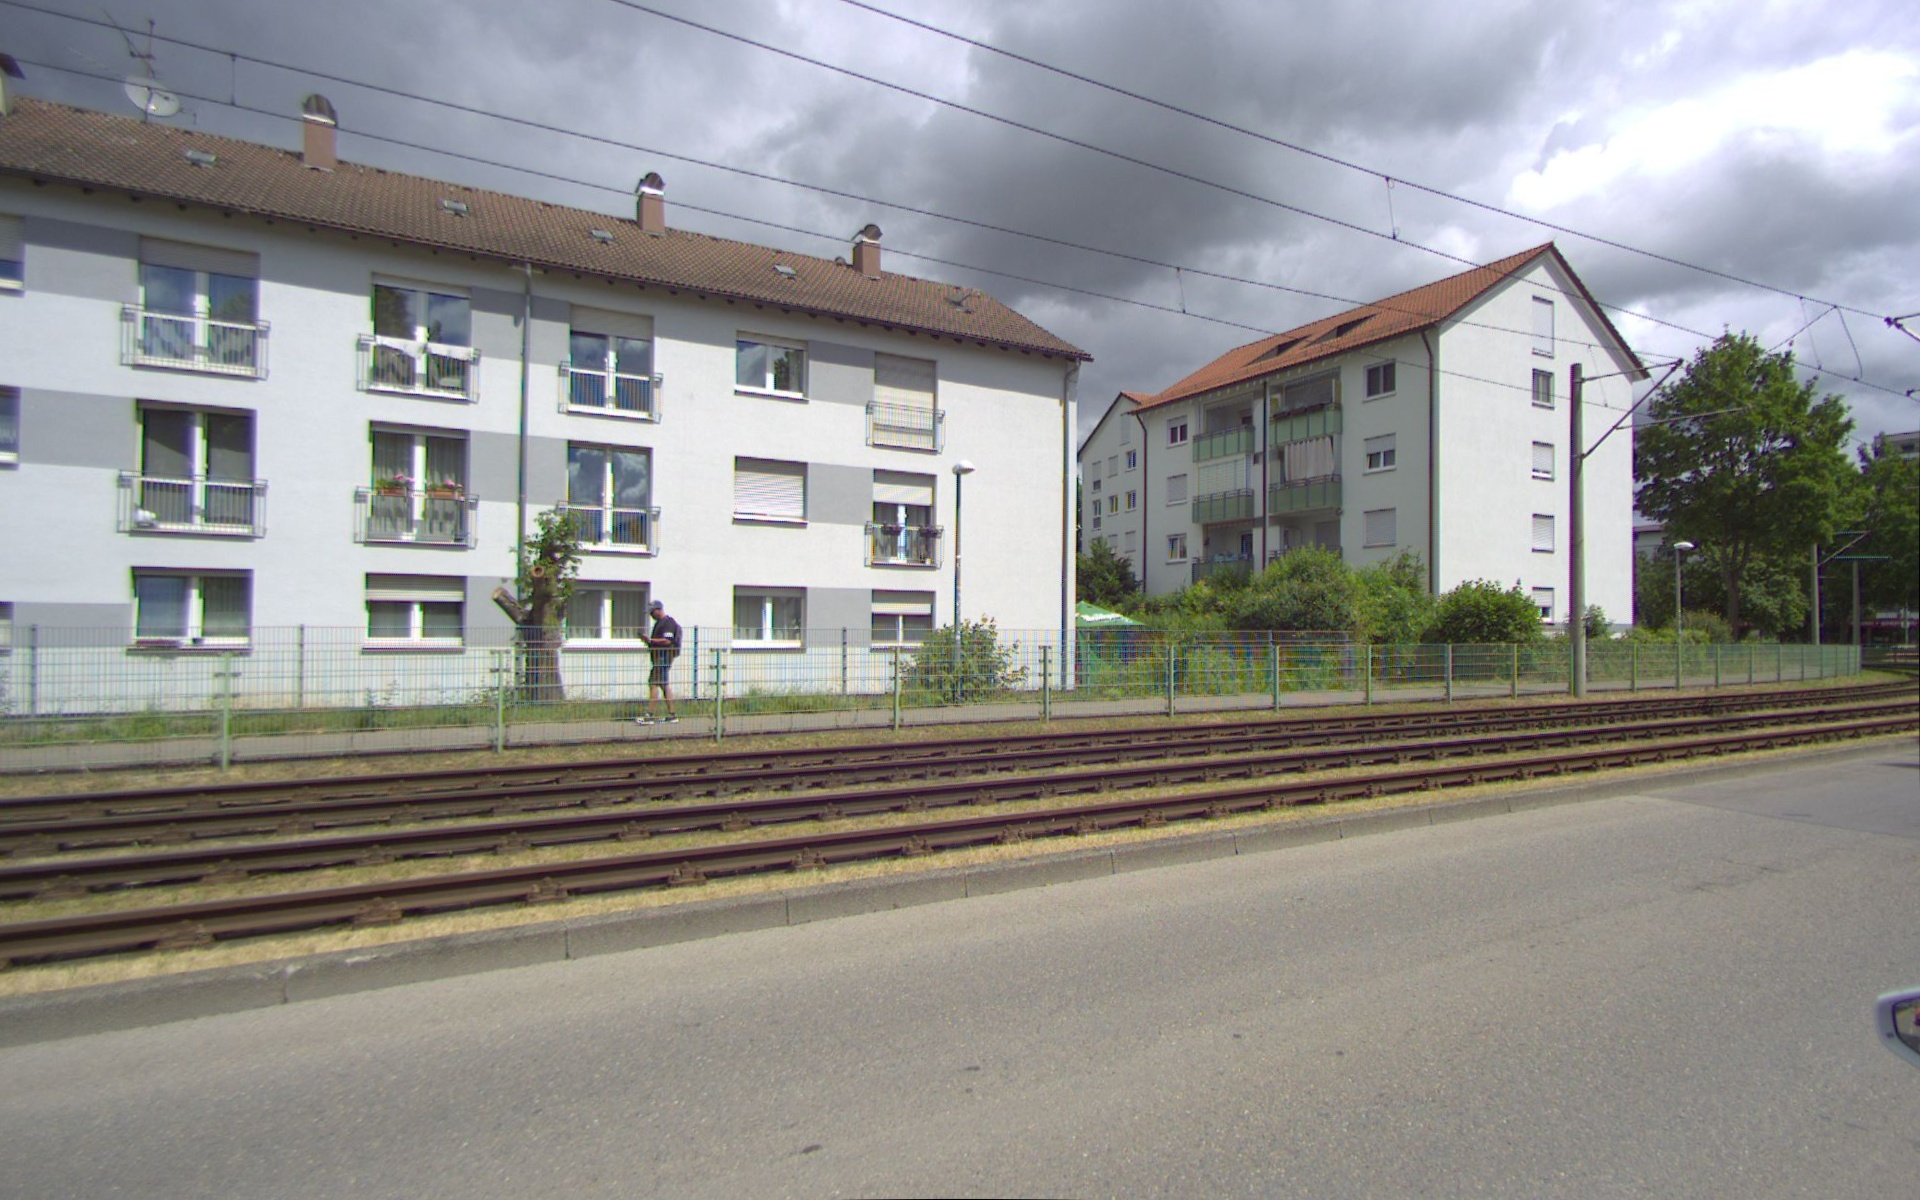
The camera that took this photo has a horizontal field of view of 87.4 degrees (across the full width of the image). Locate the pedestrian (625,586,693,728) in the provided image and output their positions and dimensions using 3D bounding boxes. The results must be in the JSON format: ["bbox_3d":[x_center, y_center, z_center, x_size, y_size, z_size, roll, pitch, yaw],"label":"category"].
[{"bbox_3d":[-4.116,0.771,13.715,0.759,1.873,0.656,1,-2,-30],"label":"pedestrian"}]
